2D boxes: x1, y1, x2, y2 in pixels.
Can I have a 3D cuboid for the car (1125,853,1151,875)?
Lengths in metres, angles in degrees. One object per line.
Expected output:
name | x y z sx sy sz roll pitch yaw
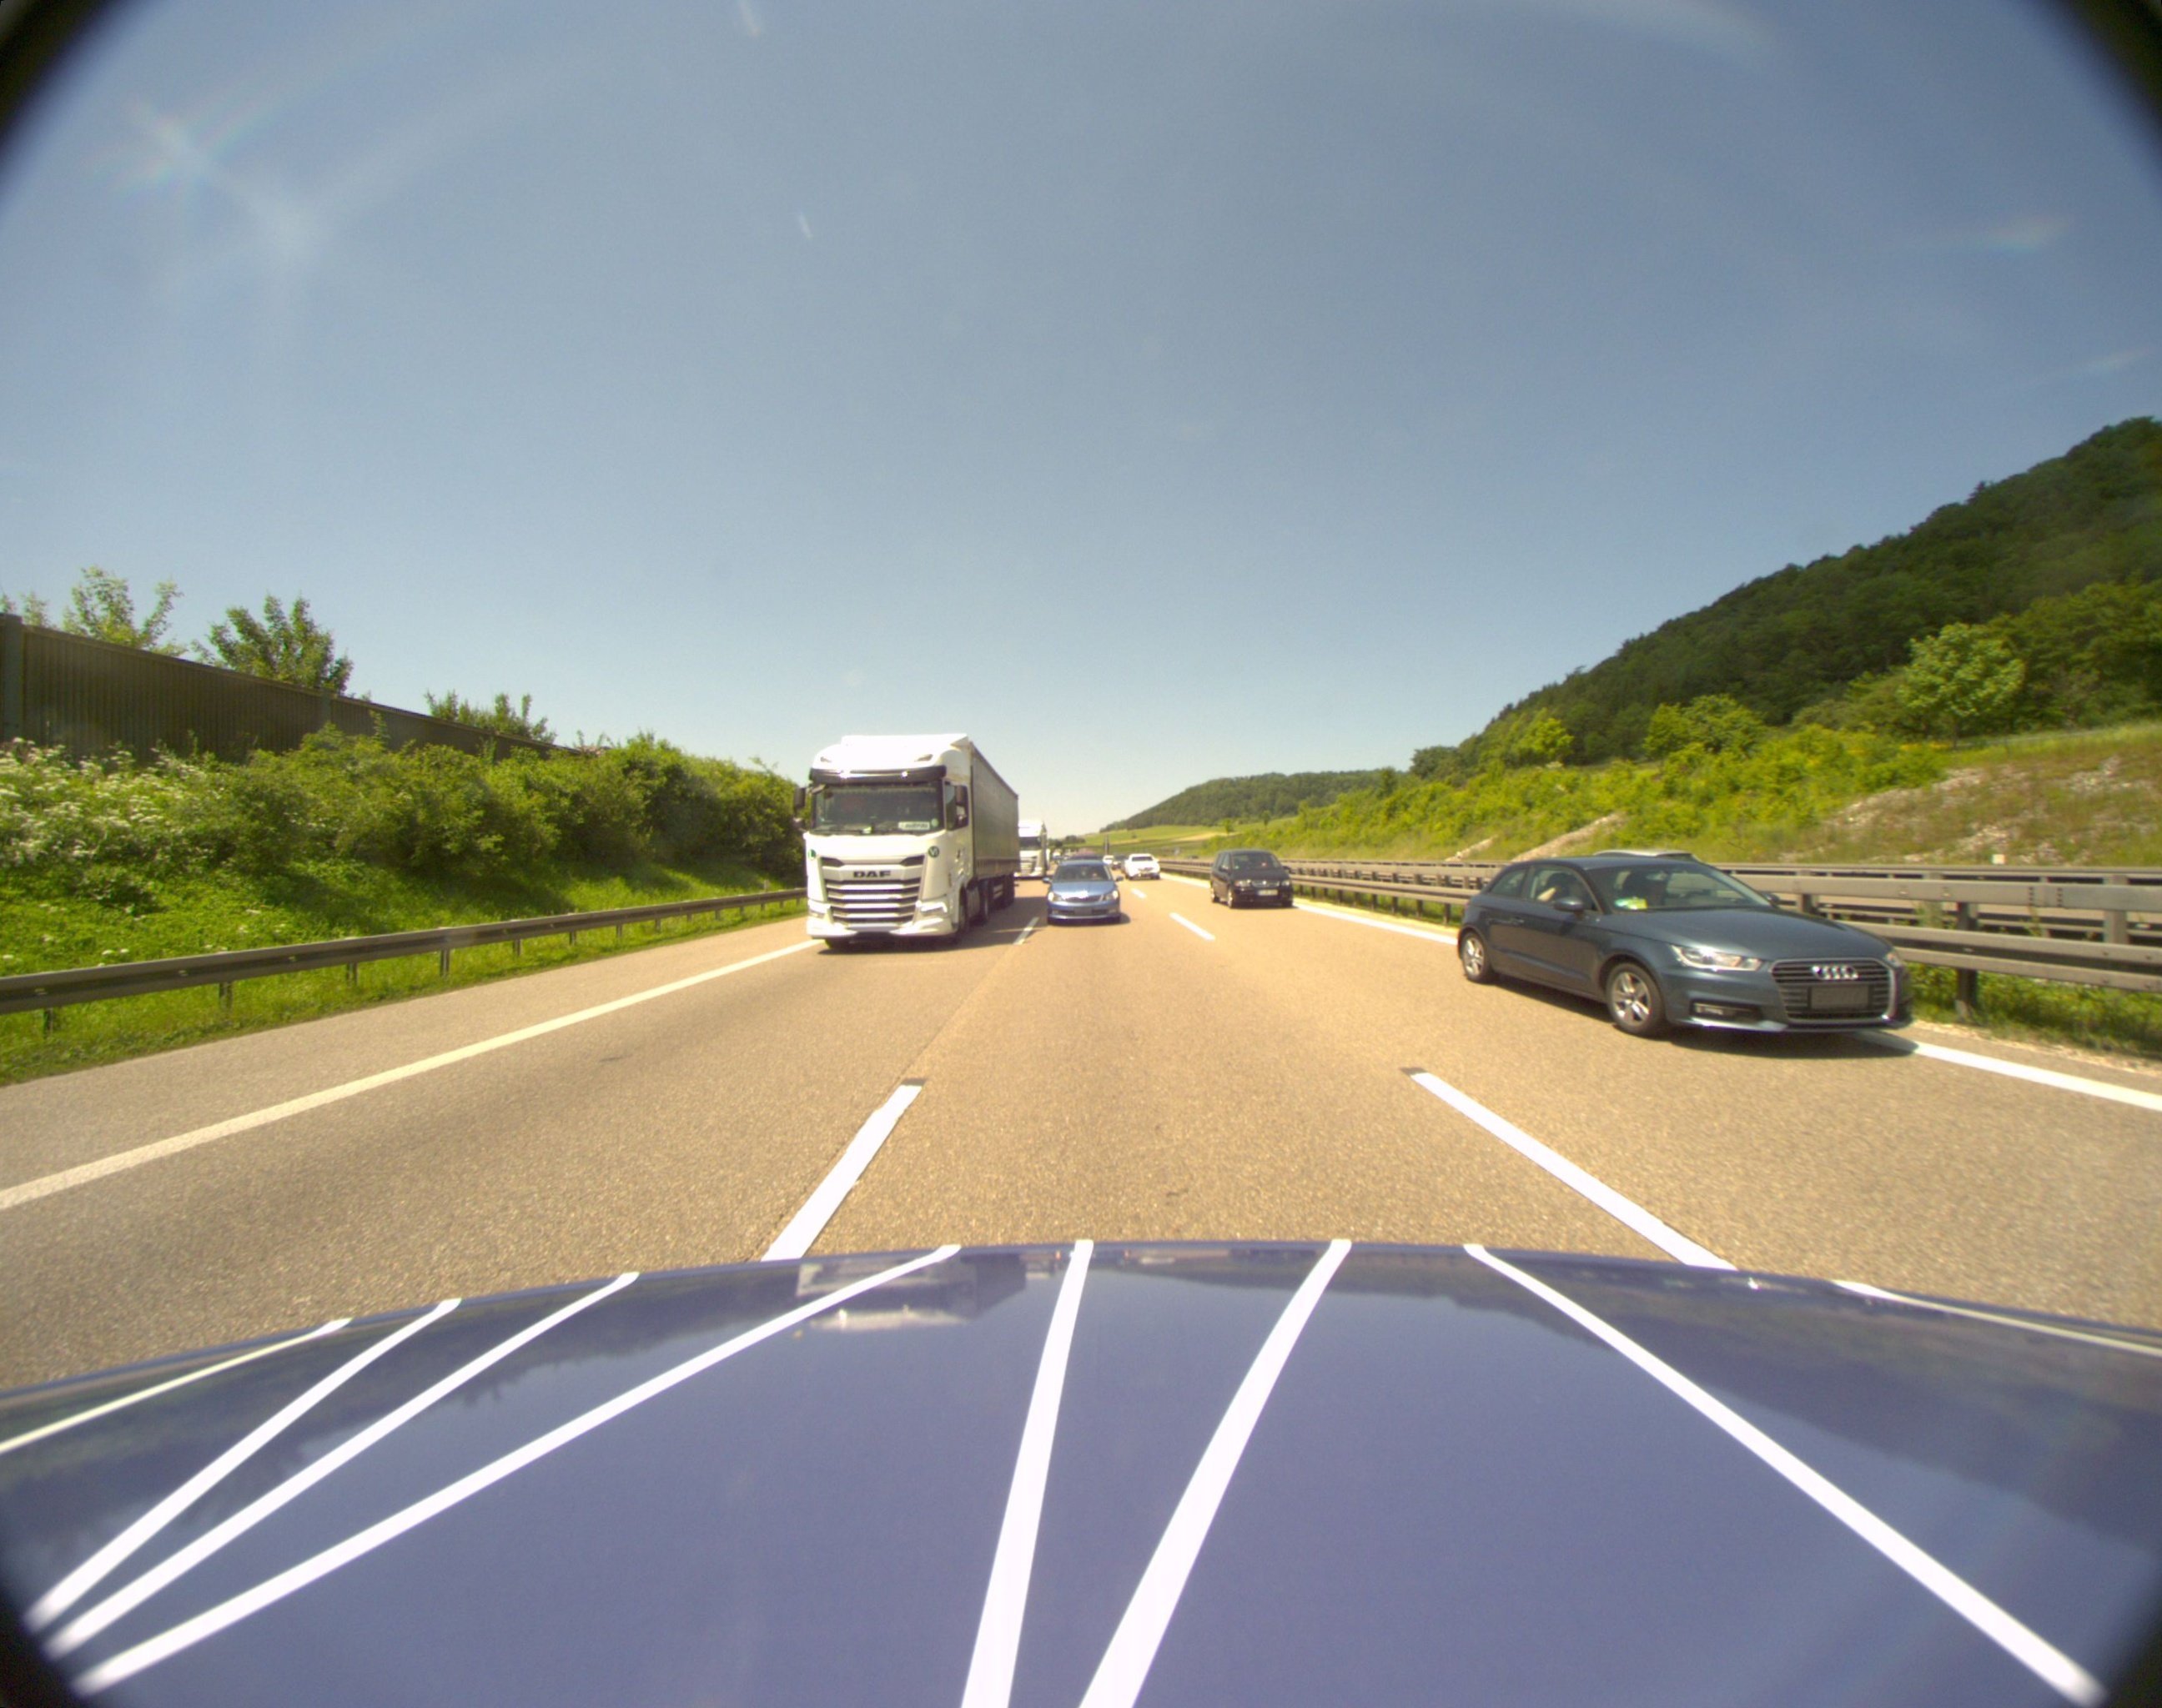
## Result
car | 4.789 0.839 64.143 1.998 1.692 4.000 -2 1 3

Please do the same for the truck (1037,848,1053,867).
truck | -4.482 0.425 94.907 1.836 2.267 6.593 -2 1 -1

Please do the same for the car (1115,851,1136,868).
car | 4.608 0.544 78.708 1.998 1.702 4.000 -2 1 3

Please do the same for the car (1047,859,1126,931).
car | 0.109 0.904 18.731 1.660 1.481 4.653 -1 0 0

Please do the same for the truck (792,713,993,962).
truck | -3.404 -0.269 15.417 2.484 3.954 6.380 -1 0 -1

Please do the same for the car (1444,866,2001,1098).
car | 5.057 0.851 6.859 1.693 1.380 4.000 -1 0 1

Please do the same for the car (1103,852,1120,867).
car | 3.920 0.678 96.132 1.998 1.702 4.000 -2 1 3

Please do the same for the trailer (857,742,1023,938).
trailer | -3.412 -0.303 22.428 2.484 3.954 13.653 -1 0 -1

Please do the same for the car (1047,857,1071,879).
car | -1.963 1.228 68.302 1.999 1.702 3.999 -2 1 0

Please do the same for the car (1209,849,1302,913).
car | 4.893 0.704 21.922 1.805 1.625 4.446 -1 0 2

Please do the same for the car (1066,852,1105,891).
car | 0.256 0.781 36.243 1.736 1.674 4.198 -1 0 2

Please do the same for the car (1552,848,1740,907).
car | 15.795 0.595 21.626 1.998 1.447 4.527 -1 0 1

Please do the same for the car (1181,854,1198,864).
car | 14.473 0.650 101.243 1.695 1.360 3.741 -1 0 0

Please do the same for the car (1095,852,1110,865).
car | 3.056 0.590 107.017 1.998 1.702 4.000 -2 1 3

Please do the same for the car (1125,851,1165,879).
car | 3.872 0.658 46.851 1.999 1.612 3.999 -2 0 -1

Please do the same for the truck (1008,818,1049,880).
truck | -3.620 -0.382 53.799 2.531 4.065 6.078 -2 1 -2

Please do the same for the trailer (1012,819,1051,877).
trailer | -3.792 -0.494 60.771 2.544 4.084 13.624 -2 1 -2

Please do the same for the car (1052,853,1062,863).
car | -5.149 0.837 165.695 1.999 2.002 3.999 -2 1 0
